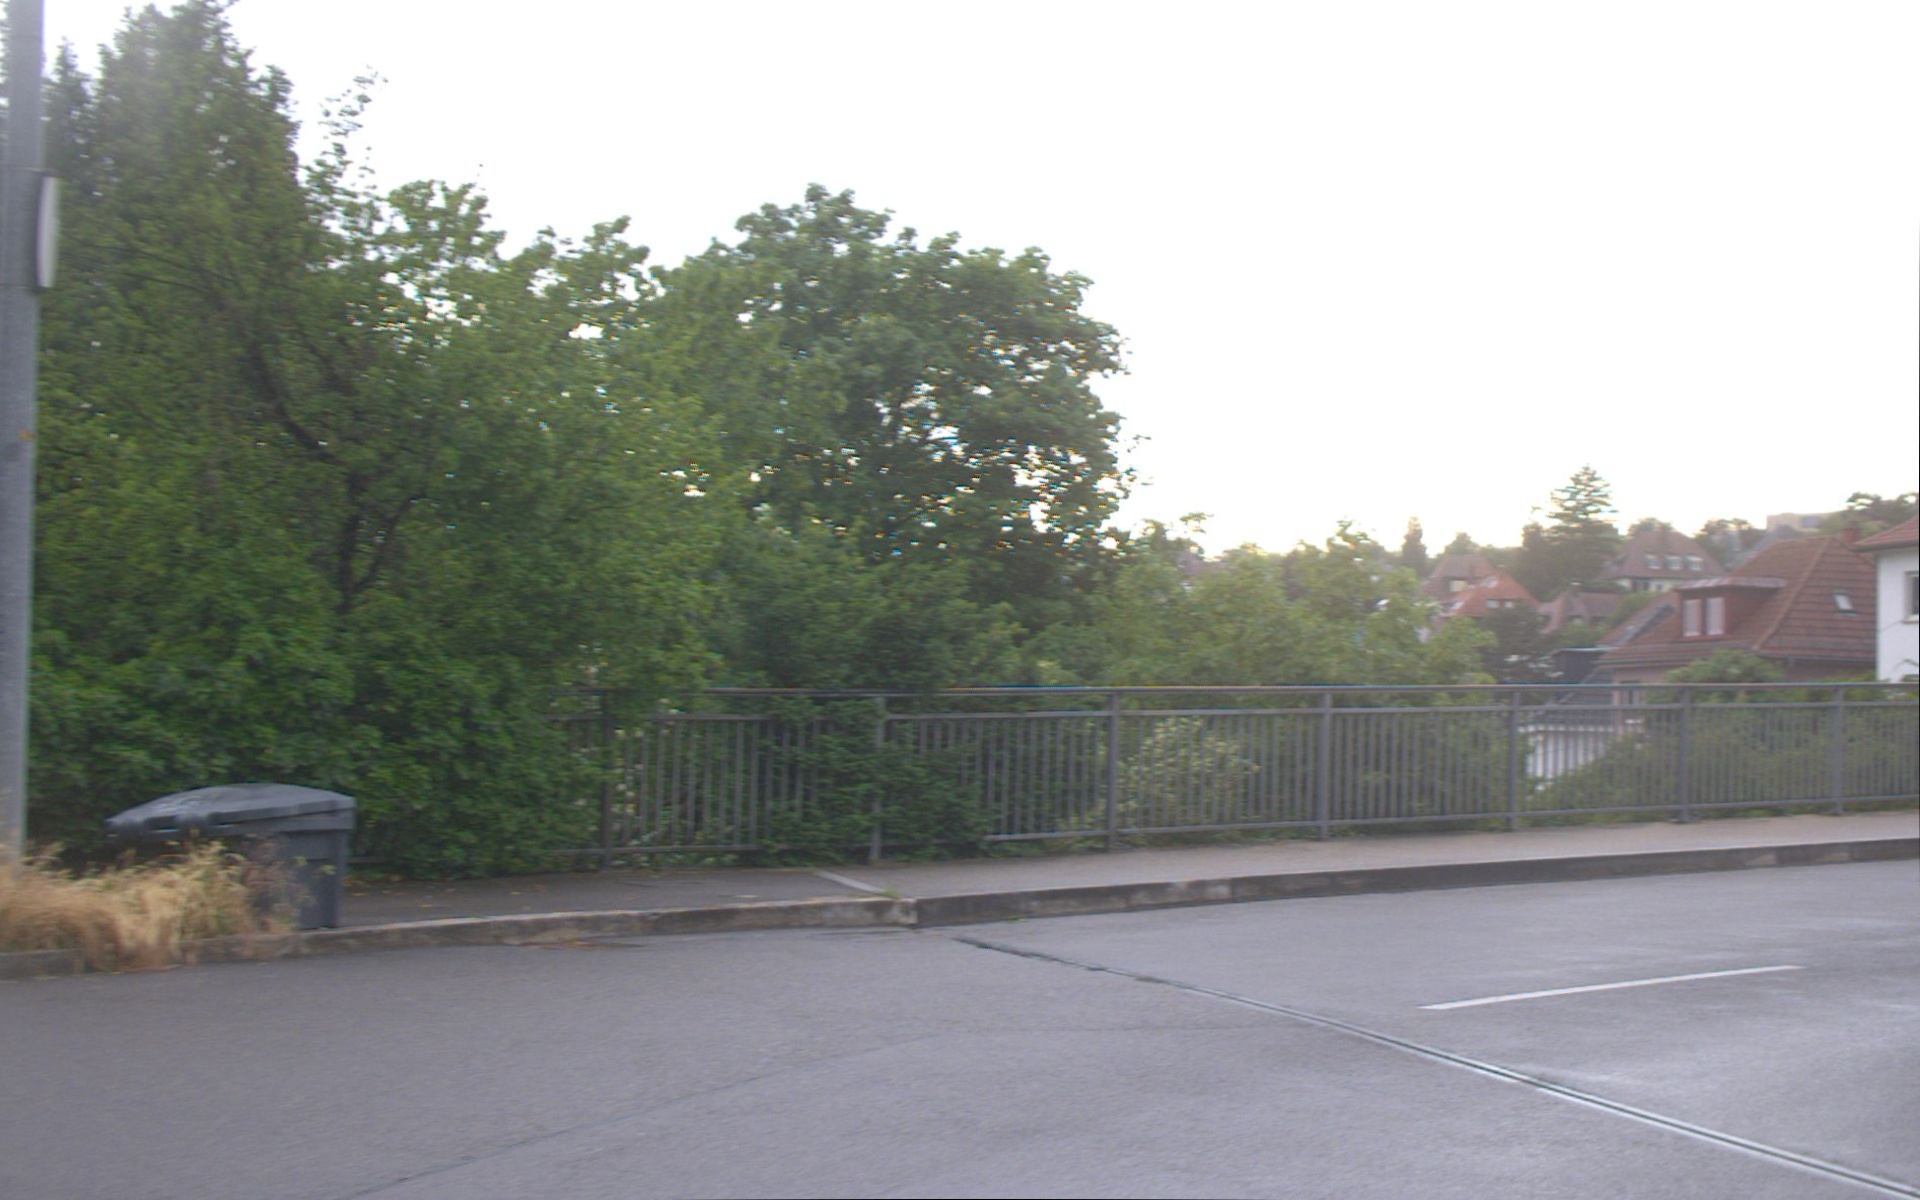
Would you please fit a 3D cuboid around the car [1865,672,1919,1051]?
[{"bbox_3d":[5.281,1.029,14.014,1.751,1.403,3.991,0,-1,36],"label":"car"}]
